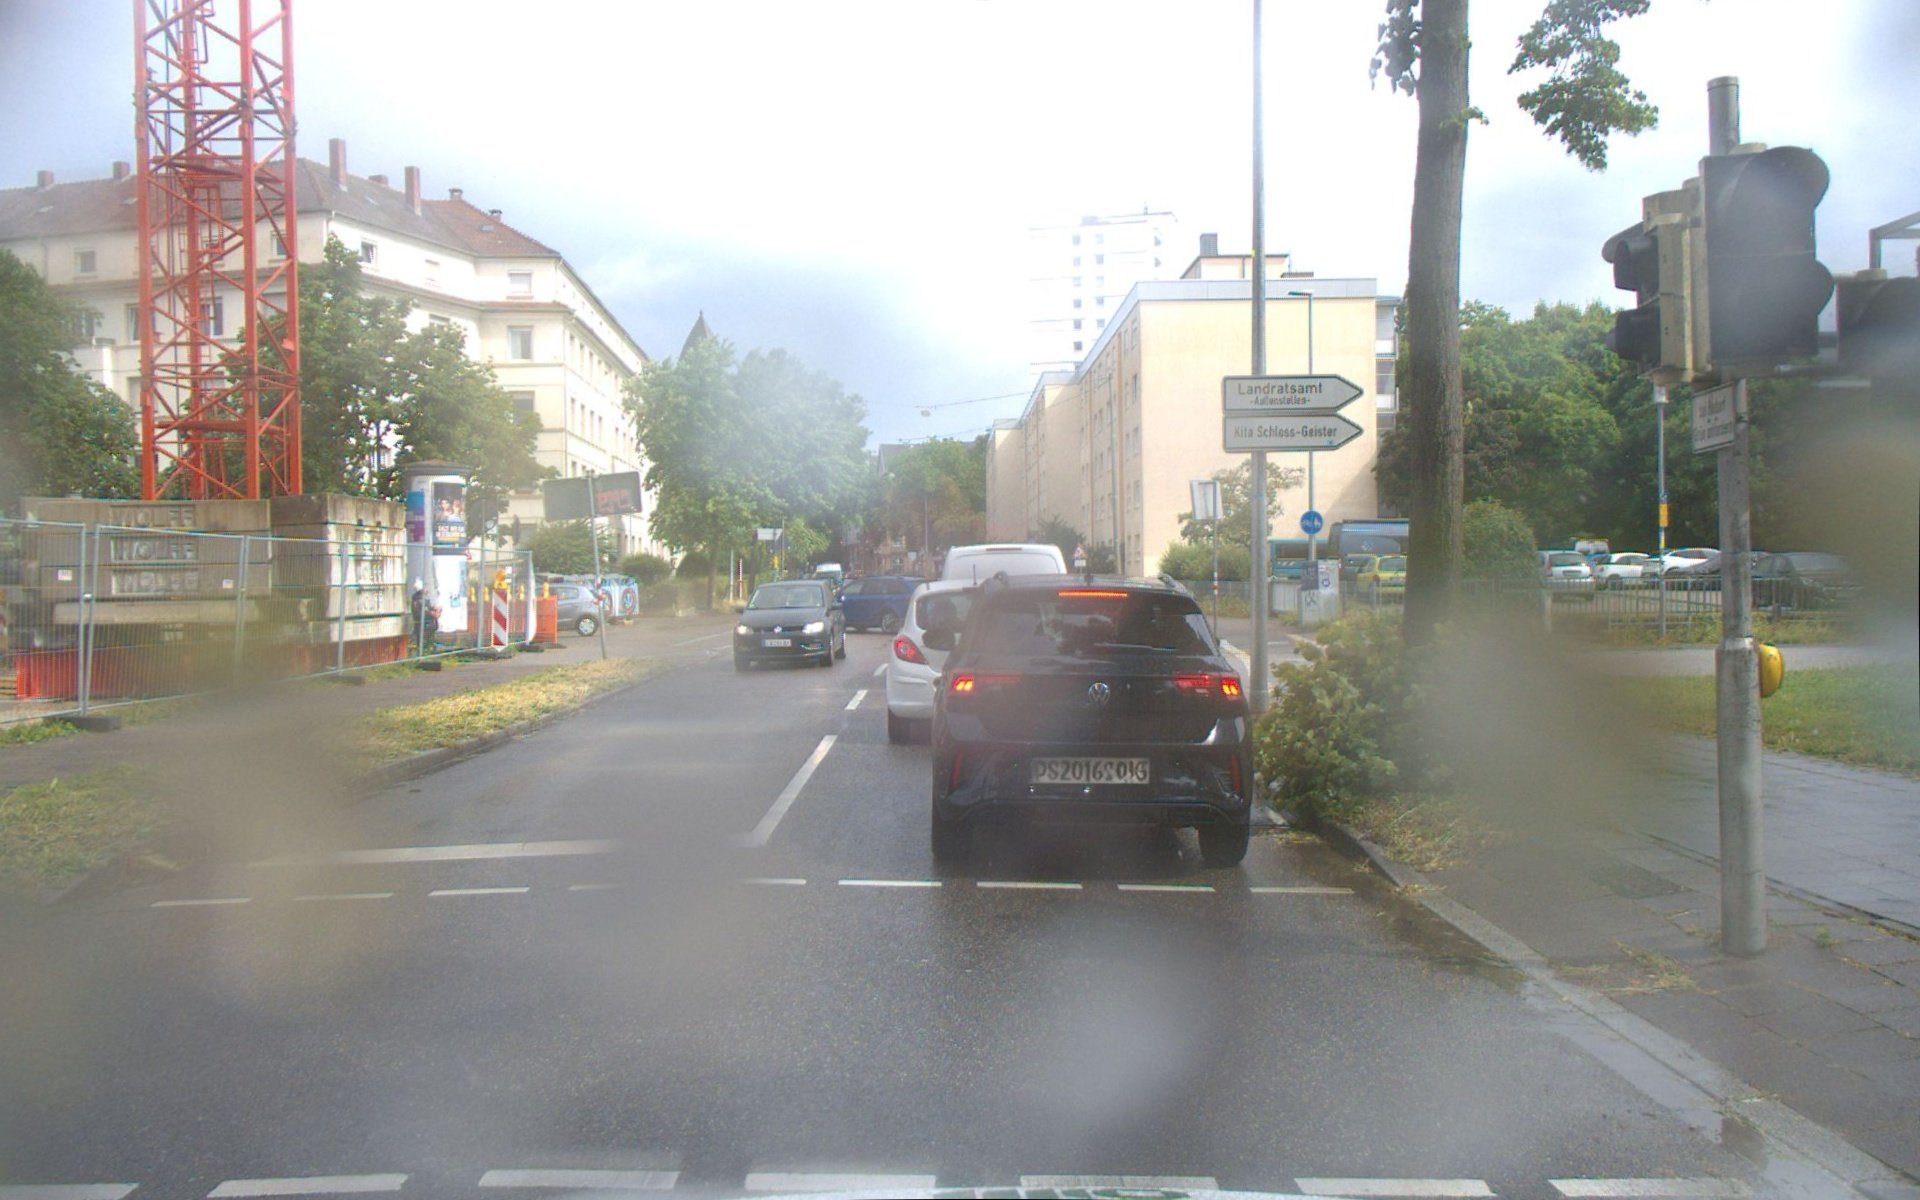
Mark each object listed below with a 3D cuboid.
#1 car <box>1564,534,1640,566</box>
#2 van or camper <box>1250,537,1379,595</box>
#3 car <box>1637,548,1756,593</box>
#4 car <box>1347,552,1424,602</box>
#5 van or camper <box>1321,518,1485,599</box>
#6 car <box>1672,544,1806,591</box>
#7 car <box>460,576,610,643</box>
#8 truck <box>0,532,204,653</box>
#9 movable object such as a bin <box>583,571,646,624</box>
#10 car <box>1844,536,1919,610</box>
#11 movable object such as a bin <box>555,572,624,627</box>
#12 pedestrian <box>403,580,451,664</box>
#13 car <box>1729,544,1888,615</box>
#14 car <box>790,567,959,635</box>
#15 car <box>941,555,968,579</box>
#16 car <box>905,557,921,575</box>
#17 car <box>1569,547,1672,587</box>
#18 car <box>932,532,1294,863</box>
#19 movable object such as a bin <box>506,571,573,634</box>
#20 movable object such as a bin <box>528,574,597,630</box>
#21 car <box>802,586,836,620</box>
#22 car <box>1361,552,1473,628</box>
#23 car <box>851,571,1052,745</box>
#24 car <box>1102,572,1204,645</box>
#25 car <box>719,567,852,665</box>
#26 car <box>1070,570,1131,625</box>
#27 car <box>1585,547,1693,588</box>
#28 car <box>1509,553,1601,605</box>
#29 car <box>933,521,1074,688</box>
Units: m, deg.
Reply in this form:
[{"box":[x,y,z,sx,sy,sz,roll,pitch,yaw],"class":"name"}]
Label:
[{"box":[31.600,-2.462,81.499,3.158,1.422,1.509,-2,1,3],"class":"car"},{"box":[14.023,-1.342,65.619,4.660,2.168,2.323,-1,1,3],"class":"van or camper"},{"box":[26.697,-1.074,60.041,3.590,1.512,1.640,-2,1,3],"class":"car"},{"box":[13.230,-0.724,51.576,1.577,1.474,3.417,-2,1,1],"class":"car"},{"box":[14.754,-1.363,55.316,4.895,2.599,2.175,-1,0,1],"class":"van or camper"},{"box":[27.180,-1.144,57.796,3.892,1.490,1.673,-2,1,1],"class":"car"},{"box":[-11.851,0.272,46.300,3.919,1.665,1.889,-3,-1,-13],"class":"car"},{"box":[-27.657,-0.152,48.443,9.603,3.239,3.796,-2,1,12],"class":"truck"},{"box":[-11.597,-0.093,55.544,1.505,1.691,1.460,-1,1,18],"class":"movable object such as a bin"},{"box":[23.373,-0.688,40.081,1.814,1.708,4.426,-2,1,5],"class":"car"},{"box":[-12.082,-0.015,54.022,1.505,1.703,1.667,-1,1,18],"class":"movable object such as a bin"},{"box":[-10.644,0.435,33.011,0.716,1.658,0.675,1,0,-38],"class":"pedestrian"},{"box":[20.360,-0.511,39.891,1.790,1.553,4.426,-2,1,4],"class":"car"},{"box":[-2.276,0.028,43.521,4.365,1.612,1.812,-1,3,41],"class":"car"},{"box":[-0.378,-2.384,119.259,1.803,1.636,3.676,-3,1,1],"class":"car"},{"box":[-5.197,-3.718,182.245,1.632,1.869,3.998,-2,1,-3],"class":"car"},{"box":[27.029,-1.361,67.757,3.590,1.512,1.640,-2,1,3],"class":"car"},{"box":[0.767,0.496,10.509,1.835,1.674,4.061,1,0,-1],"class":"car"},{"box":[-12.931,0.070,50.910,1.505,1.856,1.264,-1,1,18],"class":"movable object such as a bin"},{"box":[-12.596,0.042,52.454,1.505,1.685,1.529,-1,1,18],"class":"movable object such as a bin"},{"box":[-6.793,0.115,79.853,1.555,1.532,4.061,-2,1,-5],"class":"car"},{"box":[11.614,-0.284,42.272,1.766,1.780,4.239,-2,1,2],"class":"car"},{"box":[-0.092,0.517,16.787,1.776,1.529,3.999,1,0,0],"class":"car"},{"box":[4.600,0.154,39.995,1.738,1.566,4.377,-3,1,-2],"class":"car"},{"box":[-2.939,0.258,28.606,1.776,1.567,3.982,0,0,1],"class":"car"},{"box":[4.326,-0.057,51.366,1.720,1.554,4.001,2,-1,3],"class":"car"},{"box":[26.868,-1.277,65.475,3.590,1.512,1.640,-2,1,3],"class":"car"},{"box":[18.383,-0.668,51.267,1.614,1.512,3.720,-2,1,2],"class":"car"},{"box":[0.616,0.062,23.478,1.798,2.139,4.001,1,0,1],"class":"car"}]
